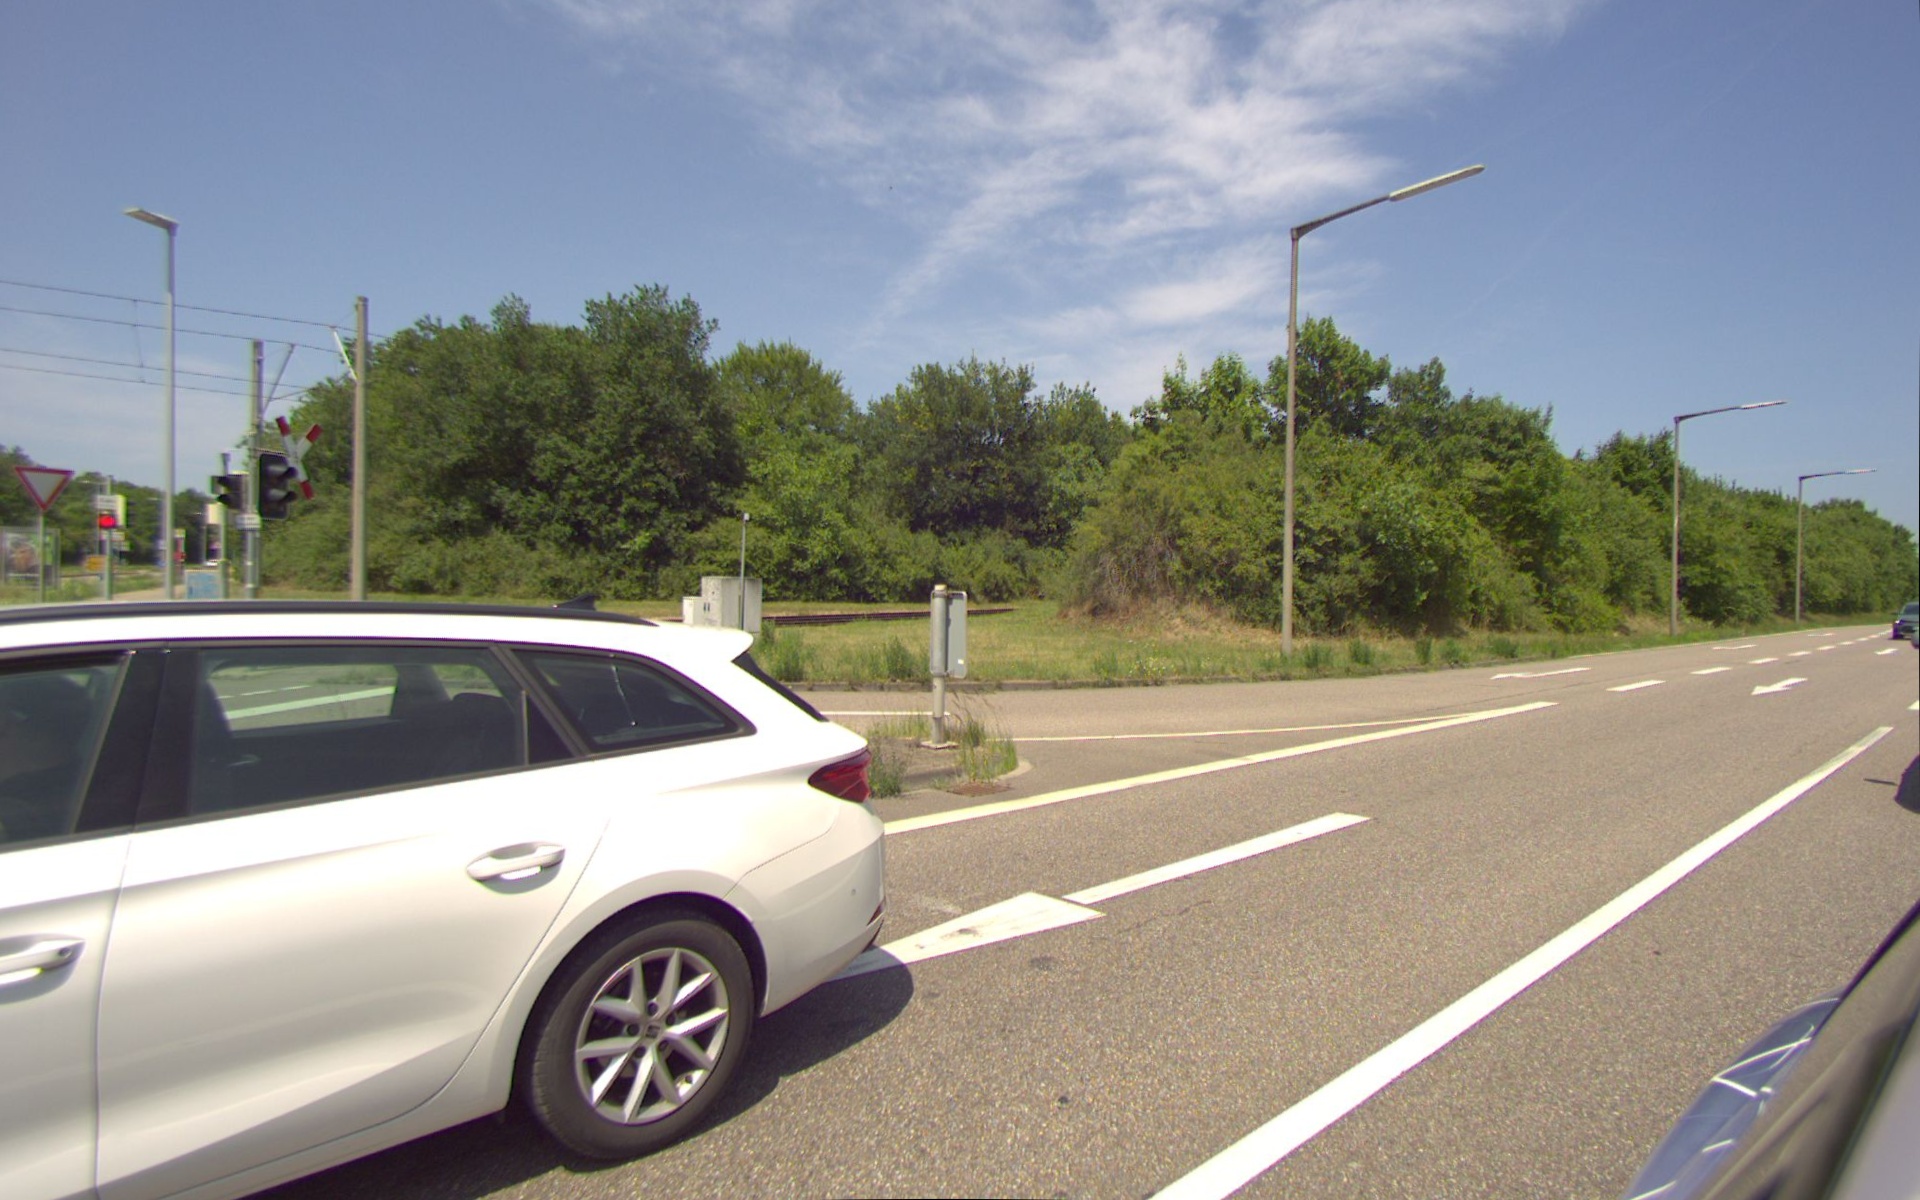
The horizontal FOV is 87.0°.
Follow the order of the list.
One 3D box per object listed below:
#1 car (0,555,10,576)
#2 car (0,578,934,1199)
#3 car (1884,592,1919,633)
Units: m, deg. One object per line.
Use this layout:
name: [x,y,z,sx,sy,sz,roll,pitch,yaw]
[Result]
car: [-73.544,-2.626,76.474,1.640,1.600,4.005,2,0,-29]
car: [-2.255,0.658,2.403,4.375,1.407,1.684,0,1,-43]
car: [39.933,0.535,42.024,3.928,1.616,1.723,0,1,-39]
